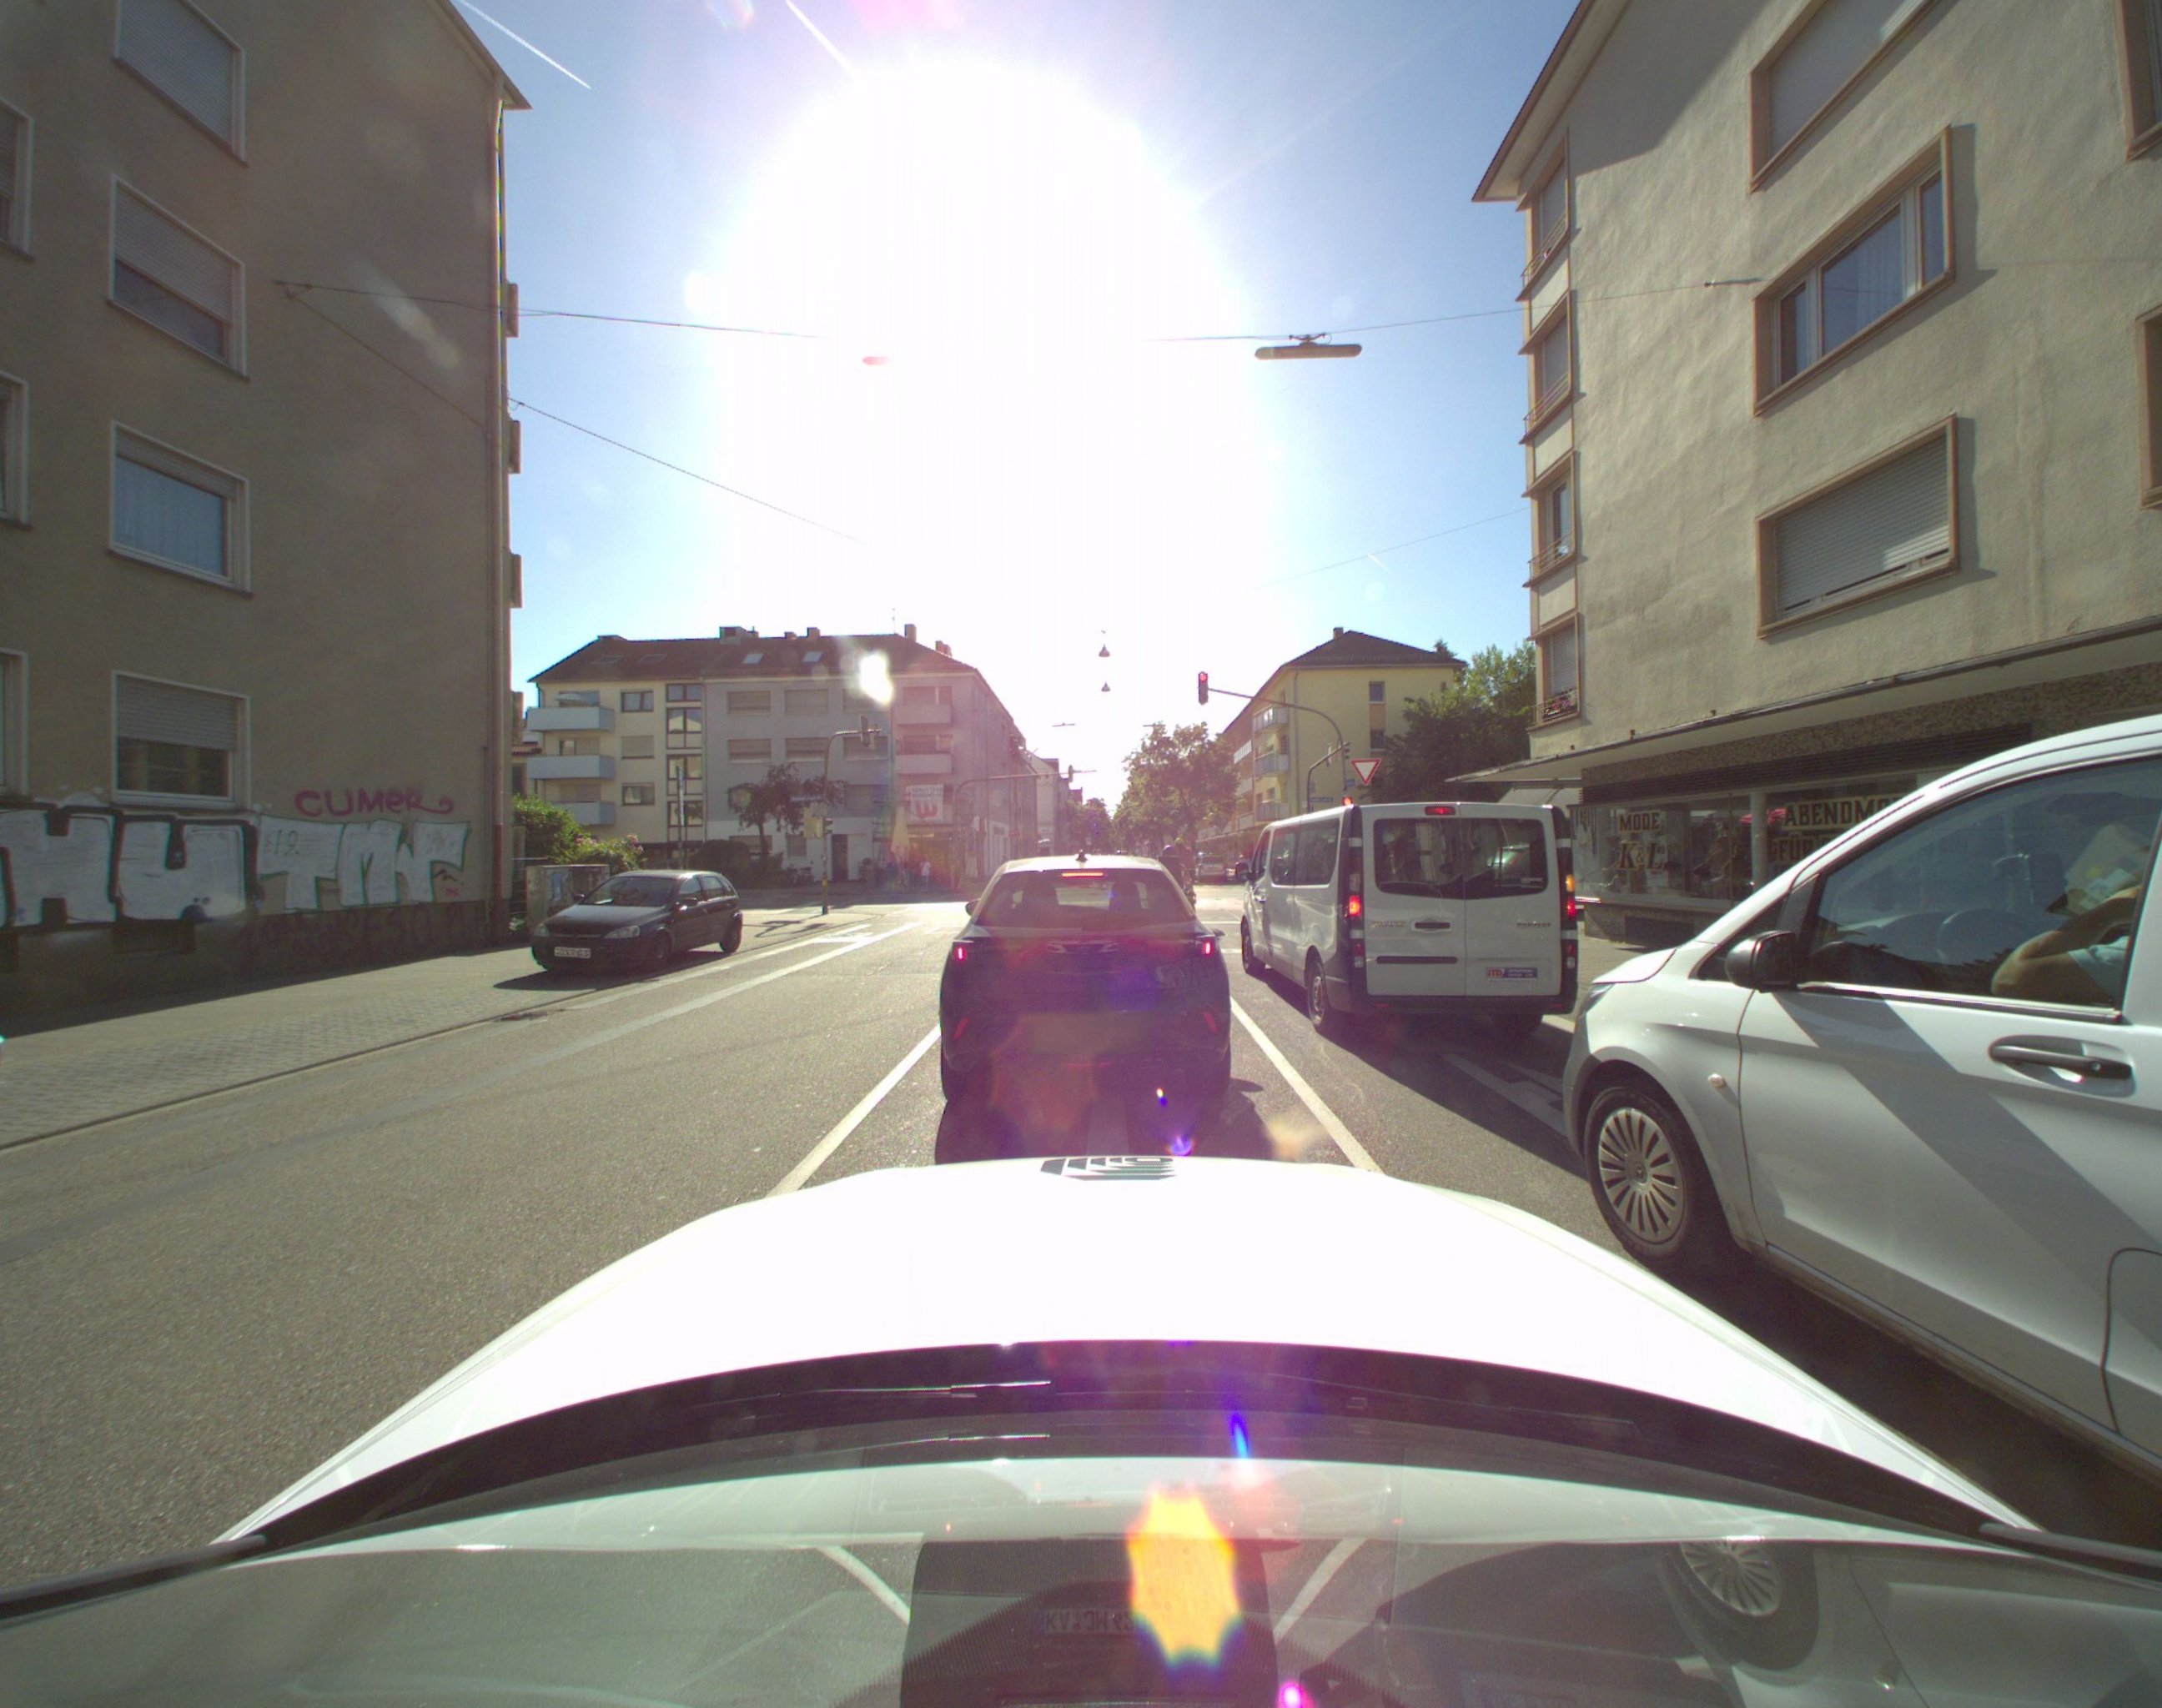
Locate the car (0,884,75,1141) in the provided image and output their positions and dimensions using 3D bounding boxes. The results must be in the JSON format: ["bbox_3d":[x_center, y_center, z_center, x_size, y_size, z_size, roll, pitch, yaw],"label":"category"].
[{"bbox_3d":[-7.139,0.915,2.623,1.711,1.465,4.817,0,0,2],"label":"car"}]

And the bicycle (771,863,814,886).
[{"bbox_3d":[-15.349,1.080,43.277,2.103,1.172,0.735,-1,0,-22],"label":"bicycle"}]

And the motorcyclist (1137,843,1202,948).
[{"bbox_3d":[1.331,0.602,12.421,0.861,1.502,1.160,-1,0,1],"label":"motorcyclist"}]

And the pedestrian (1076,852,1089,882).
[{"bbox_3d":[0.088,0.694,44.097,0.678,1.606,0.762,-1,0,0],"label":"pedestrian"}]

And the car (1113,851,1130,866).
[{"bbox_3d":[4.751,0.532,96.361,1.894,1.728,4.076,-1,0,2],"label":"car"}]

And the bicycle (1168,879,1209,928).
[{"bbox_3d":[2.300,1.033,17.602,0.575,0.904,2.301,-1,0,0],"label":"bicycle"}]

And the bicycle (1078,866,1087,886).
[{"bbox_3d":[0.074,1.182,44.234,0.442,0.992,2.068,-1,0,0],"label":"bicycle"}]

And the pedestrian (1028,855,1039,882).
[{"bbox_3d":[-2.944,0.902,50.582,0.568,1.690,0.588,-1,0,1],"label":"pedestrian"}]

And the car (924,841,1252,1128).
[{"bbox_3d":[0.043,0.710,6.441,1.765,1.530,3.999,-1,0,0],"label":"car"}]

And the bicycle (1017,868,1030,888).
[{"bbox_3d":[-3.073,1.269,43.660,0.520,0.992,2.339,-1,0,0],"label":"bicycle"}]

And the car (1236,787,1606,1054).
[{"bbox_3d":[2.993,0.490,8.507,1.986,1.979,4.897,0,0,2],"label":"car"}]

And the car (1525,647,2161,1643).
[{"bbox_3d":[2.929,0.535,1.225,1.830,1.869,4.996,-1,0,1],"label":"car"}]

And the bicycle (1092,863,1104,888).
[{"bbox_3d":[0.848,1.040,40.344,0.520,1.147,2.170,-1,0,0],"label":"bicycle"}]

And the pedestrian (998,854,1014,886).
[{"bbox_3d":[-3.910,0.827,42.556,0.704,1.678,0.802,-1,0,0],"label":"pedestrian"}]

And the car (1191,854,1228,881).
[{"bbox_3d":[7.414,0.754,47.225,1.628,1.433,3.958,-1,0,2],"label":"car"}]

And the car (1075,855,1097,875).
[{"bbox_3d":[0.482,0.976,74.040,1.817,1.728,4.004,-1,0,3],"label":"car"}]

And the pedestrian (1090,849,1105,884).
[{"bbox_3d":[0.817,0.593,40.402,0.704,1.701,0.802,-1,0,0],"label":"pedestrian"}]

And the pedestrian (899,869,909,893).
[{"bbox_3d":[-8.227,1.257,37.809,0.354,1.092,0.461,-1,0,-1],"label":"pedestrian"}]

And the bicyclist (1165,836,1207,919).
[{"bbox_3d":[2.264,0.485,17.691,0.687,1.712,1.414,-1,0,0],"label":"bicyclist"}]

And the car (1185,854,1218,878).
[{"bbox_3d":[7.654,0.731,51.904,1.628,1.433,4.002,-1,0,2],"label":"car"}]

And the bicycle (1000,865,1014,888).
[{"bbox_3d":[-3.860,1.145,42.701,0.520,1.147,2.283,-1,0,0],"label":"bicycle"}]

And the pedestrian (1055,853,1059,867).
[{"bbox_3d":[-2.904,0.733,99.832,0.400,1.675,0.418,-1,0,1],"label":"pedestrian"}]

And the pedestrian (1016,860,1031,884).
[{"bbox_3d":[-3.087,0.972,43.640,0.704,1.253,0.802,-1,0,0],"label":"pedestrian"}]

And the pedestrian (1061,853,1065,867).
[{"bbox_3d":[-2.219,0.721,99.684,0.400,1.675,0.418,-1,0,1],"label":"pedestrian"}]

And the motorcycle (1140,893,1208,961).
[{"bbox_3d":[1.349,1.048,12.132,0.822,0.845,1.885,-1,0,1],"label":"motorcycle"}]

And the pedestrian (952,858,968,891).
[{"bbox_3d":[-5.733,0.981,38.579,0.615,1.521,0.724,-1,0,-1],"label":"pedestrian"}]

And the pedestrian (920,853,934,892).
[{"bbox_3d":[-7.156,0.852,37.896,0.560,1.775,0.582,-1,0,-7],"label":"pedestrian"}]

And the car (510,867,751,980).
[{"bbox_3d":[-6.783,0.965,12.757,1.610,1.425,3.711,1,0,1],"label":"car"}]

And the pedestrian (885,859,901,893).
[{"bbox_3d":[-8.741,1.010,37.834,0.582,1.521,0.649,-1,0,-1],"label":"pedestrian"}]

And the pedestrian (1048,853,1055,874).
[{"bbox_3d":[-2.438,0.777,67.044,0.486,1.690,0.588,-1,0,1],"label":"pedestrian"}]
